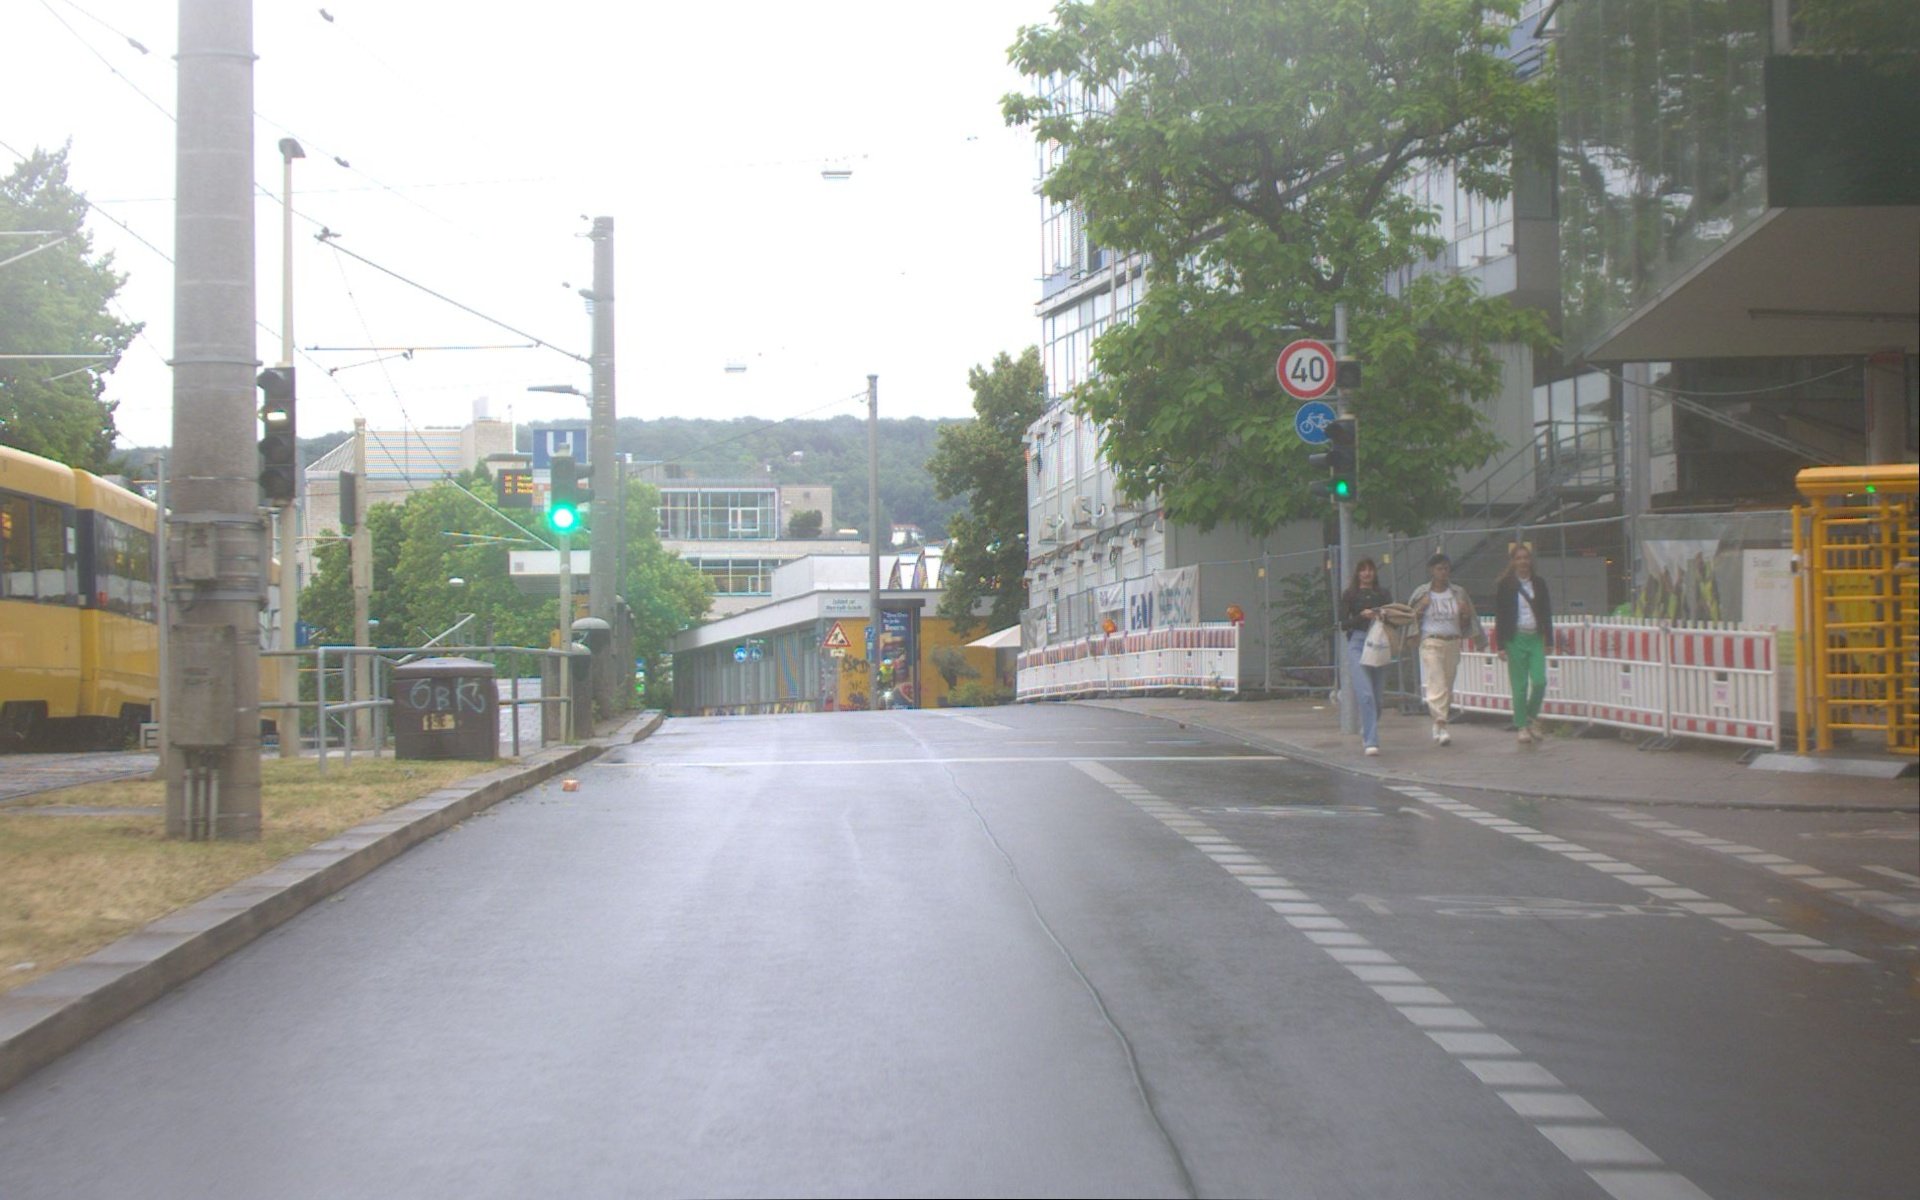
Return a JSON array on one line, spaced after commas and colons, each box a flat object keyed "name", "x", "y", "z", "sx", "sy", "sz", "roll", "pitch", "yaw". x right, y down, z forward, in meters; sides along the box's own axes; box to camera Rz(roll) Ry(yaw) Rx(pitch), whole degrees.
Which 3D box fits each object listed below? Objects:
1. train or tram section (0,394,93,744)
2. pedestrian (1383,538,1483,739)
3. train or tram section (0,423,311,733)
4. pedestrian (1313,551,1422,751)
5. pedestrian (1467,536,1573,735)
[{"name": "train or tram section", "x": -11.218, "y": -0.384, "z": 31.421, "sx": 2.746, "sy": 3.684, "sz": 18.971, "roll": 0, "pitch": -1, "yaw": -3}, {"name": "pedestrian", "x": 4.338, "y": 0.338, "z": 31.558, "sx": 0.699, "sy": 1.809, "sz": 0.977, "roll": -1, "pitch": 1, "yaw": -4}, {"name": "train or tram section", "x": -12.202, "y": -0.131, "z": 50.378, "sx": 2.746, "sy": 3.684, "sz": 18.971, "roll": 0, "pitch": -1, "yaw": -3}, {"name": "pedestrian", "x": 3.585, "y": 0.435, "z": 30.339, "sx": 0.736, "sy": 1.724, "sz": 1.119, "roll": -1, "pitch": 1, "yaw": -4}, {"name": "pedestrian", "x": 5.102, "y": 0.314, "z": 31.371, "sx": 0.699, "sy": 1.779, "sz": 1.067, "roll": -1, "pitch": 1, "yaw": -4}]
